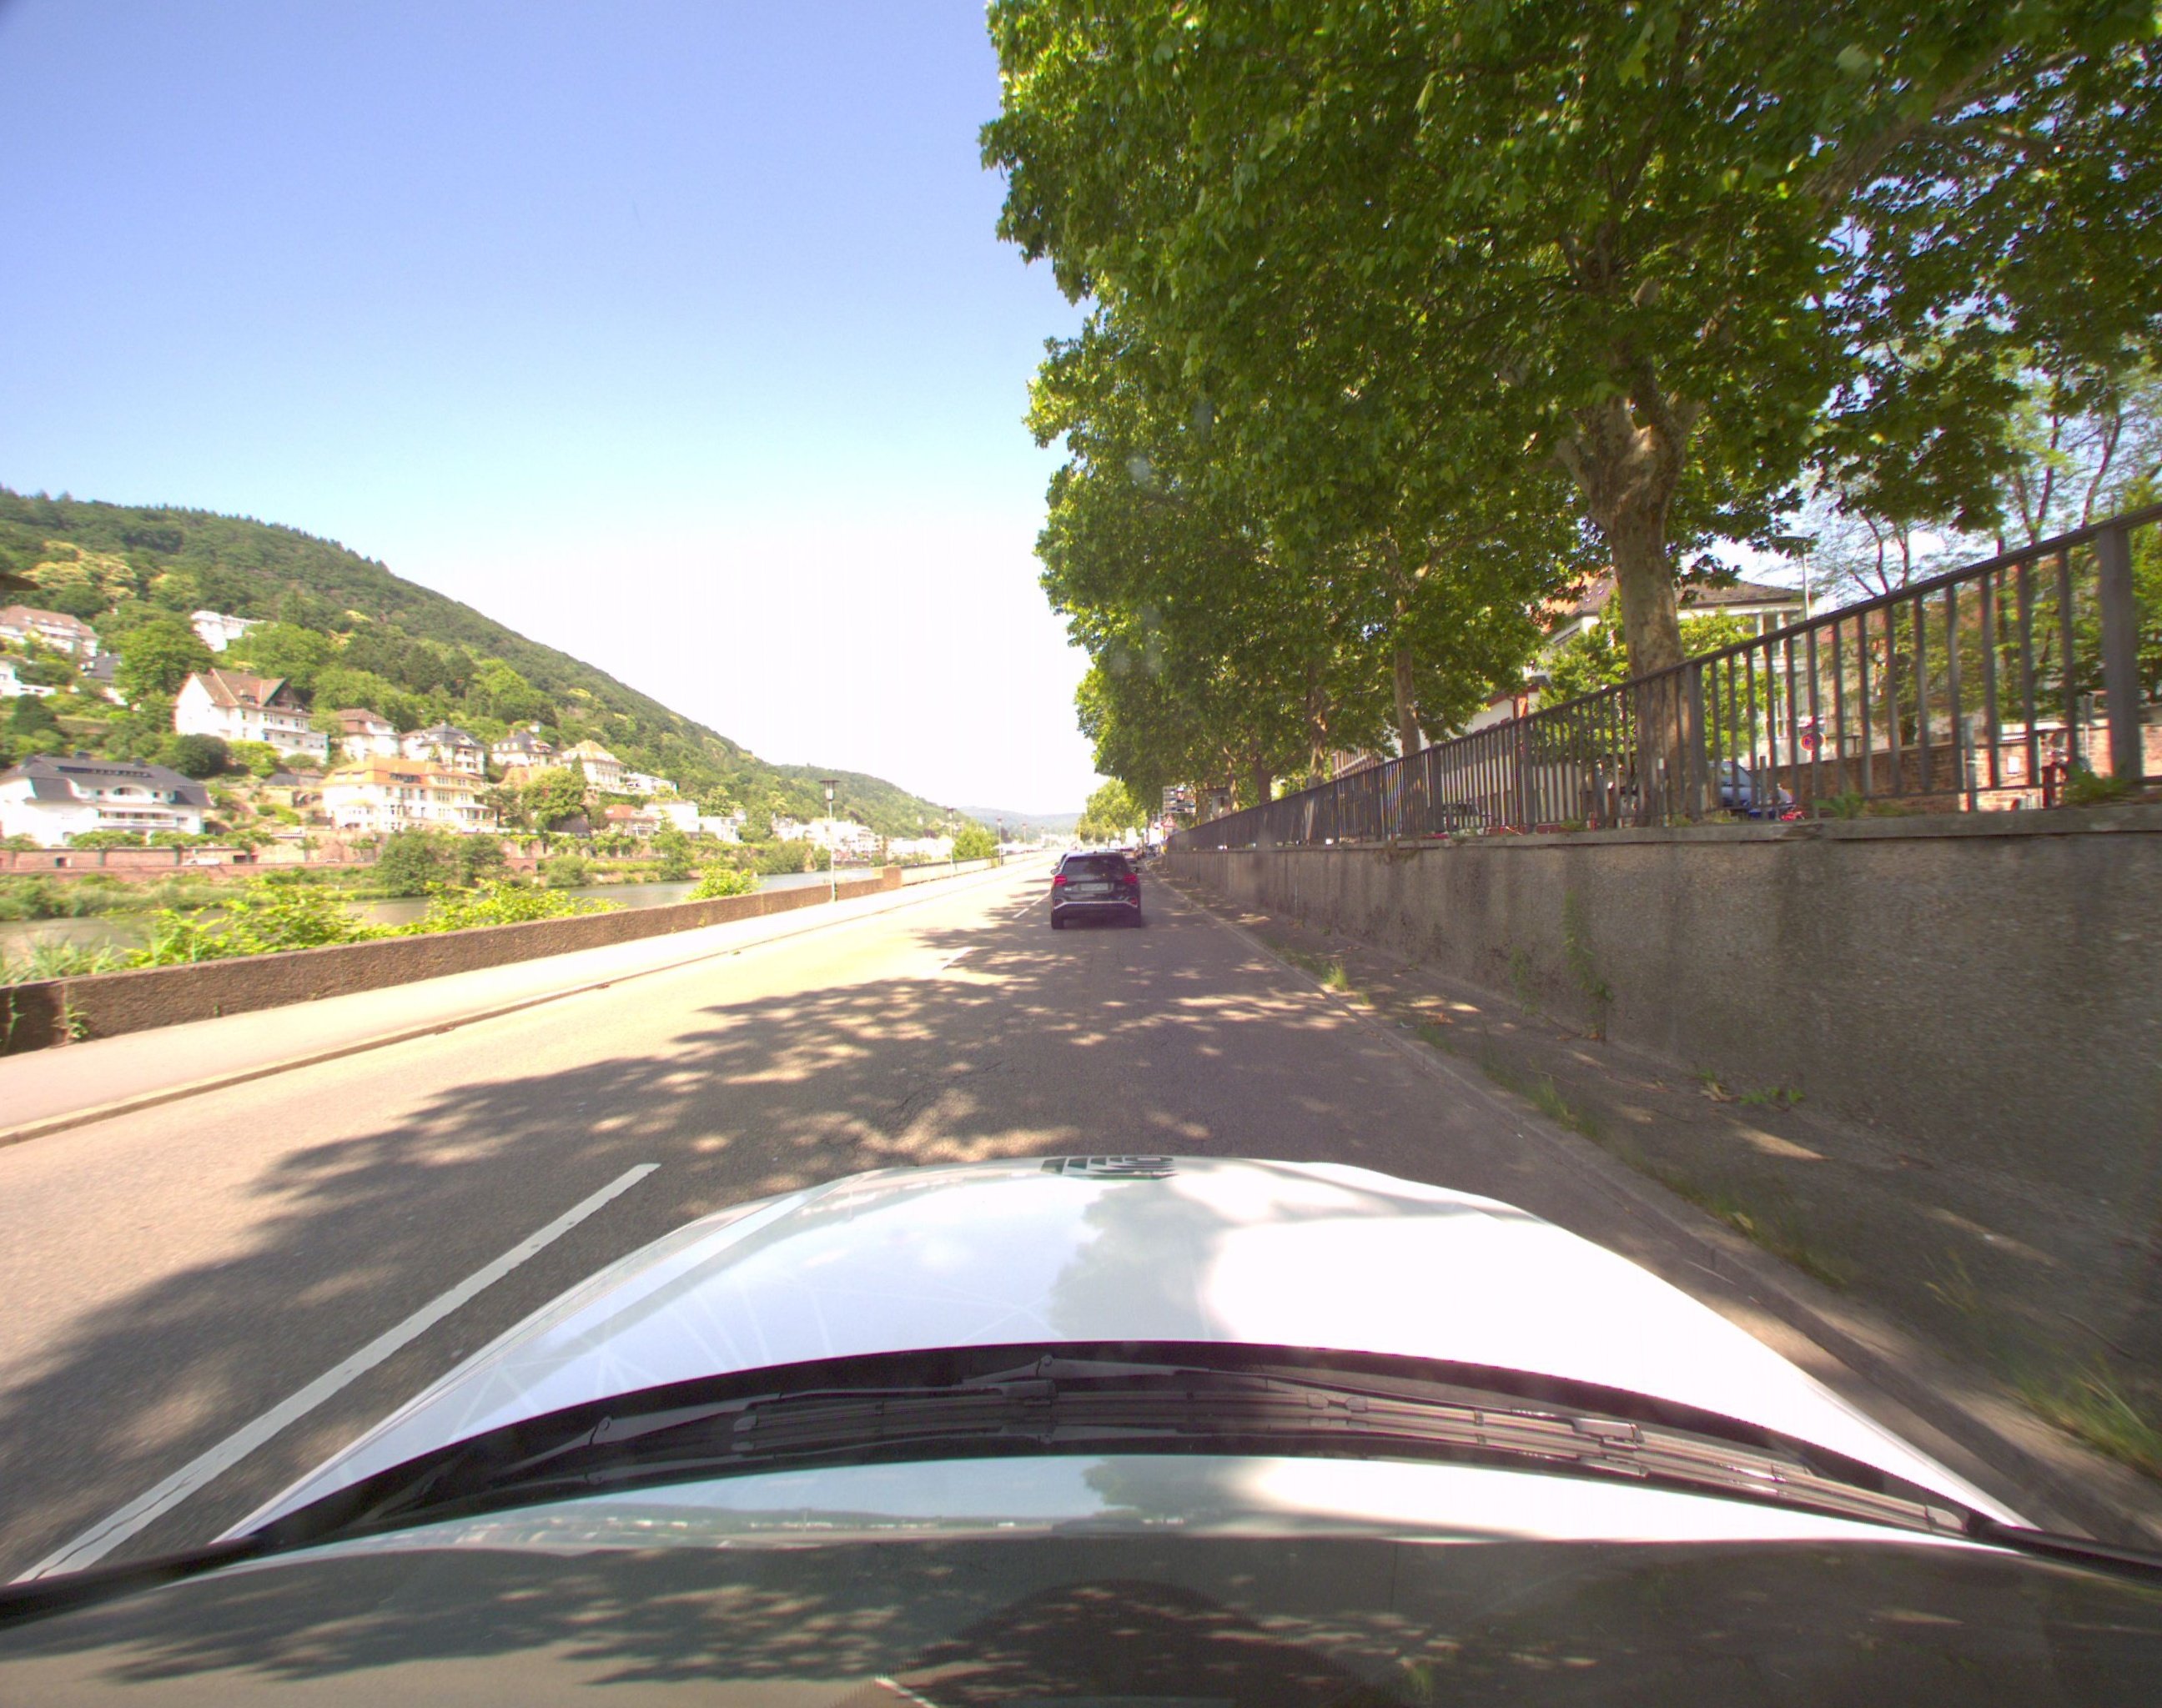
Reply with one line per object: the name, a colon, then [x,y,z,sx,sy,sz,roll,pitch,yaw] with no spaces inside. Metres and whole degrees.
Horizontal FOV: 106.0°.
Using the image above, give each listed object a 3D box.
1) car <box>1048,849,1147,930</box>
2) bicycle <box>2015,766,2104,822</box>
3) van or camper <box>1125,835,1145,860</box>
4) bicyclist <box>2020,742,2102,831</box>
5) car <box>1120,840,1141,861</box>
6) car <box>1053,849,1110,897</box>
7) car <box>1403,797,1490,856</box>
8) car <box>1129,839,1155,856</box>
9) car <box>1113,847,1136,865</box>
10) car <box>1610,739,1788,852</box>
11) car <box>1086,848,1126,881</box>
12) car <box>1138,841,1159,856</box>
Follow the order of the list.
car: [0.357,0.659,17.280,1.822,1.486,4.001,-1,0,1]
bicycle: [19.637,-1.184,16.379,0.414,0.976,1.552,0,-1,20]
van or camper: [6.566,-0.792,99.229,2.300,2.847,4.249,-3,0,3]
bicyclist: [19.645,-1.334,16.353,0.696,1.683,0.849,0,-2,20]
car: [5.320,-0.357,88.039,1.986,2.169,4.001,-3,0,1]
car: [0.070,0.611,28.647,1.822,1.511,4.001,-1,0,1]
car: [10.170,-0.715,22.503,1.757,1.469,4.025,-1,0,30]
car: [8.379,-0.874,112.614,3.087,2.013,5.826,-5,0,1]
car: [3.727,0.137,70.544,1.822,1.444,4.001,-1,0,1]
car: [9.832,-0.822,13.248,1.633,1.500,3.841,-2,0,27]
car: [1.222,0.492,39.559,1.822,1.486,4.001,-1,0,1]
car: [10.147,-0.847,122.845,2.652,2.013,5.826,-5,0,1]
